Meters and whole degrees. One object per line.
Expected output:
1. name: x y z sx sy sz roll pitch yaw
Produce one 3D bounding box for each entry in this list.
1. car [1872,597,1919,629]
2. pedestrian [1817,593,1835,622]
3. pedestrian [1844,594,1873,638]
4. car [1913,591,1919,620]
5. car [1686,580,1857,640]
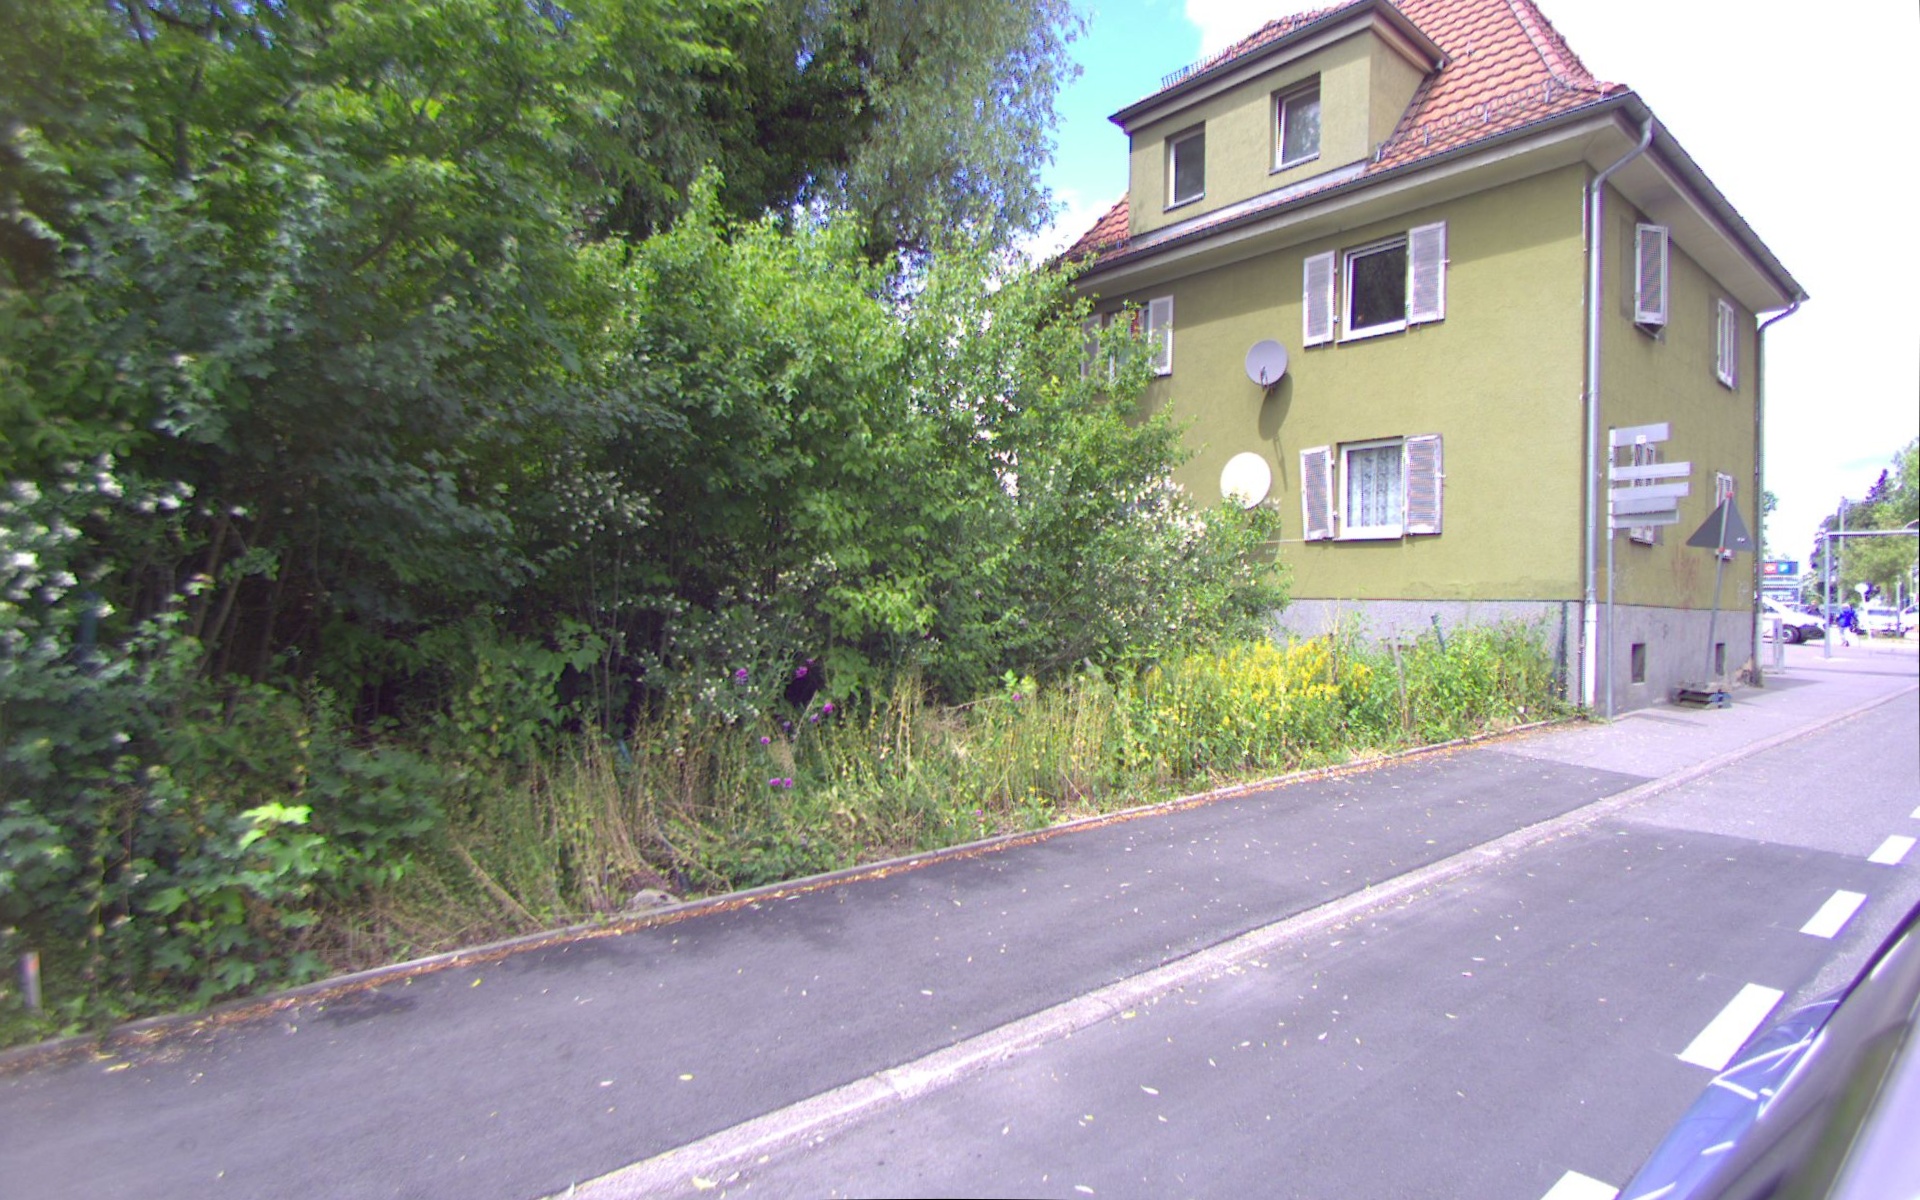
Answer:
1. car: 47.665 0.670 51.234 3.931 1.529 1.797 1 0 -42
2. pedestrian: 51.943 0.466 60.687 0.765 1.683 0.721 1 -3 -45
3. pedestrian: 32.596 0.582 36.715 0.726 1.572 1.042 1 0 39
4. car: 62.492 0.407 62.911 1.763 1.820 4.511 1 2 -9
5. car: 28.990 0.291 36.308 1.961 2.019 4.374 0 1 -32
